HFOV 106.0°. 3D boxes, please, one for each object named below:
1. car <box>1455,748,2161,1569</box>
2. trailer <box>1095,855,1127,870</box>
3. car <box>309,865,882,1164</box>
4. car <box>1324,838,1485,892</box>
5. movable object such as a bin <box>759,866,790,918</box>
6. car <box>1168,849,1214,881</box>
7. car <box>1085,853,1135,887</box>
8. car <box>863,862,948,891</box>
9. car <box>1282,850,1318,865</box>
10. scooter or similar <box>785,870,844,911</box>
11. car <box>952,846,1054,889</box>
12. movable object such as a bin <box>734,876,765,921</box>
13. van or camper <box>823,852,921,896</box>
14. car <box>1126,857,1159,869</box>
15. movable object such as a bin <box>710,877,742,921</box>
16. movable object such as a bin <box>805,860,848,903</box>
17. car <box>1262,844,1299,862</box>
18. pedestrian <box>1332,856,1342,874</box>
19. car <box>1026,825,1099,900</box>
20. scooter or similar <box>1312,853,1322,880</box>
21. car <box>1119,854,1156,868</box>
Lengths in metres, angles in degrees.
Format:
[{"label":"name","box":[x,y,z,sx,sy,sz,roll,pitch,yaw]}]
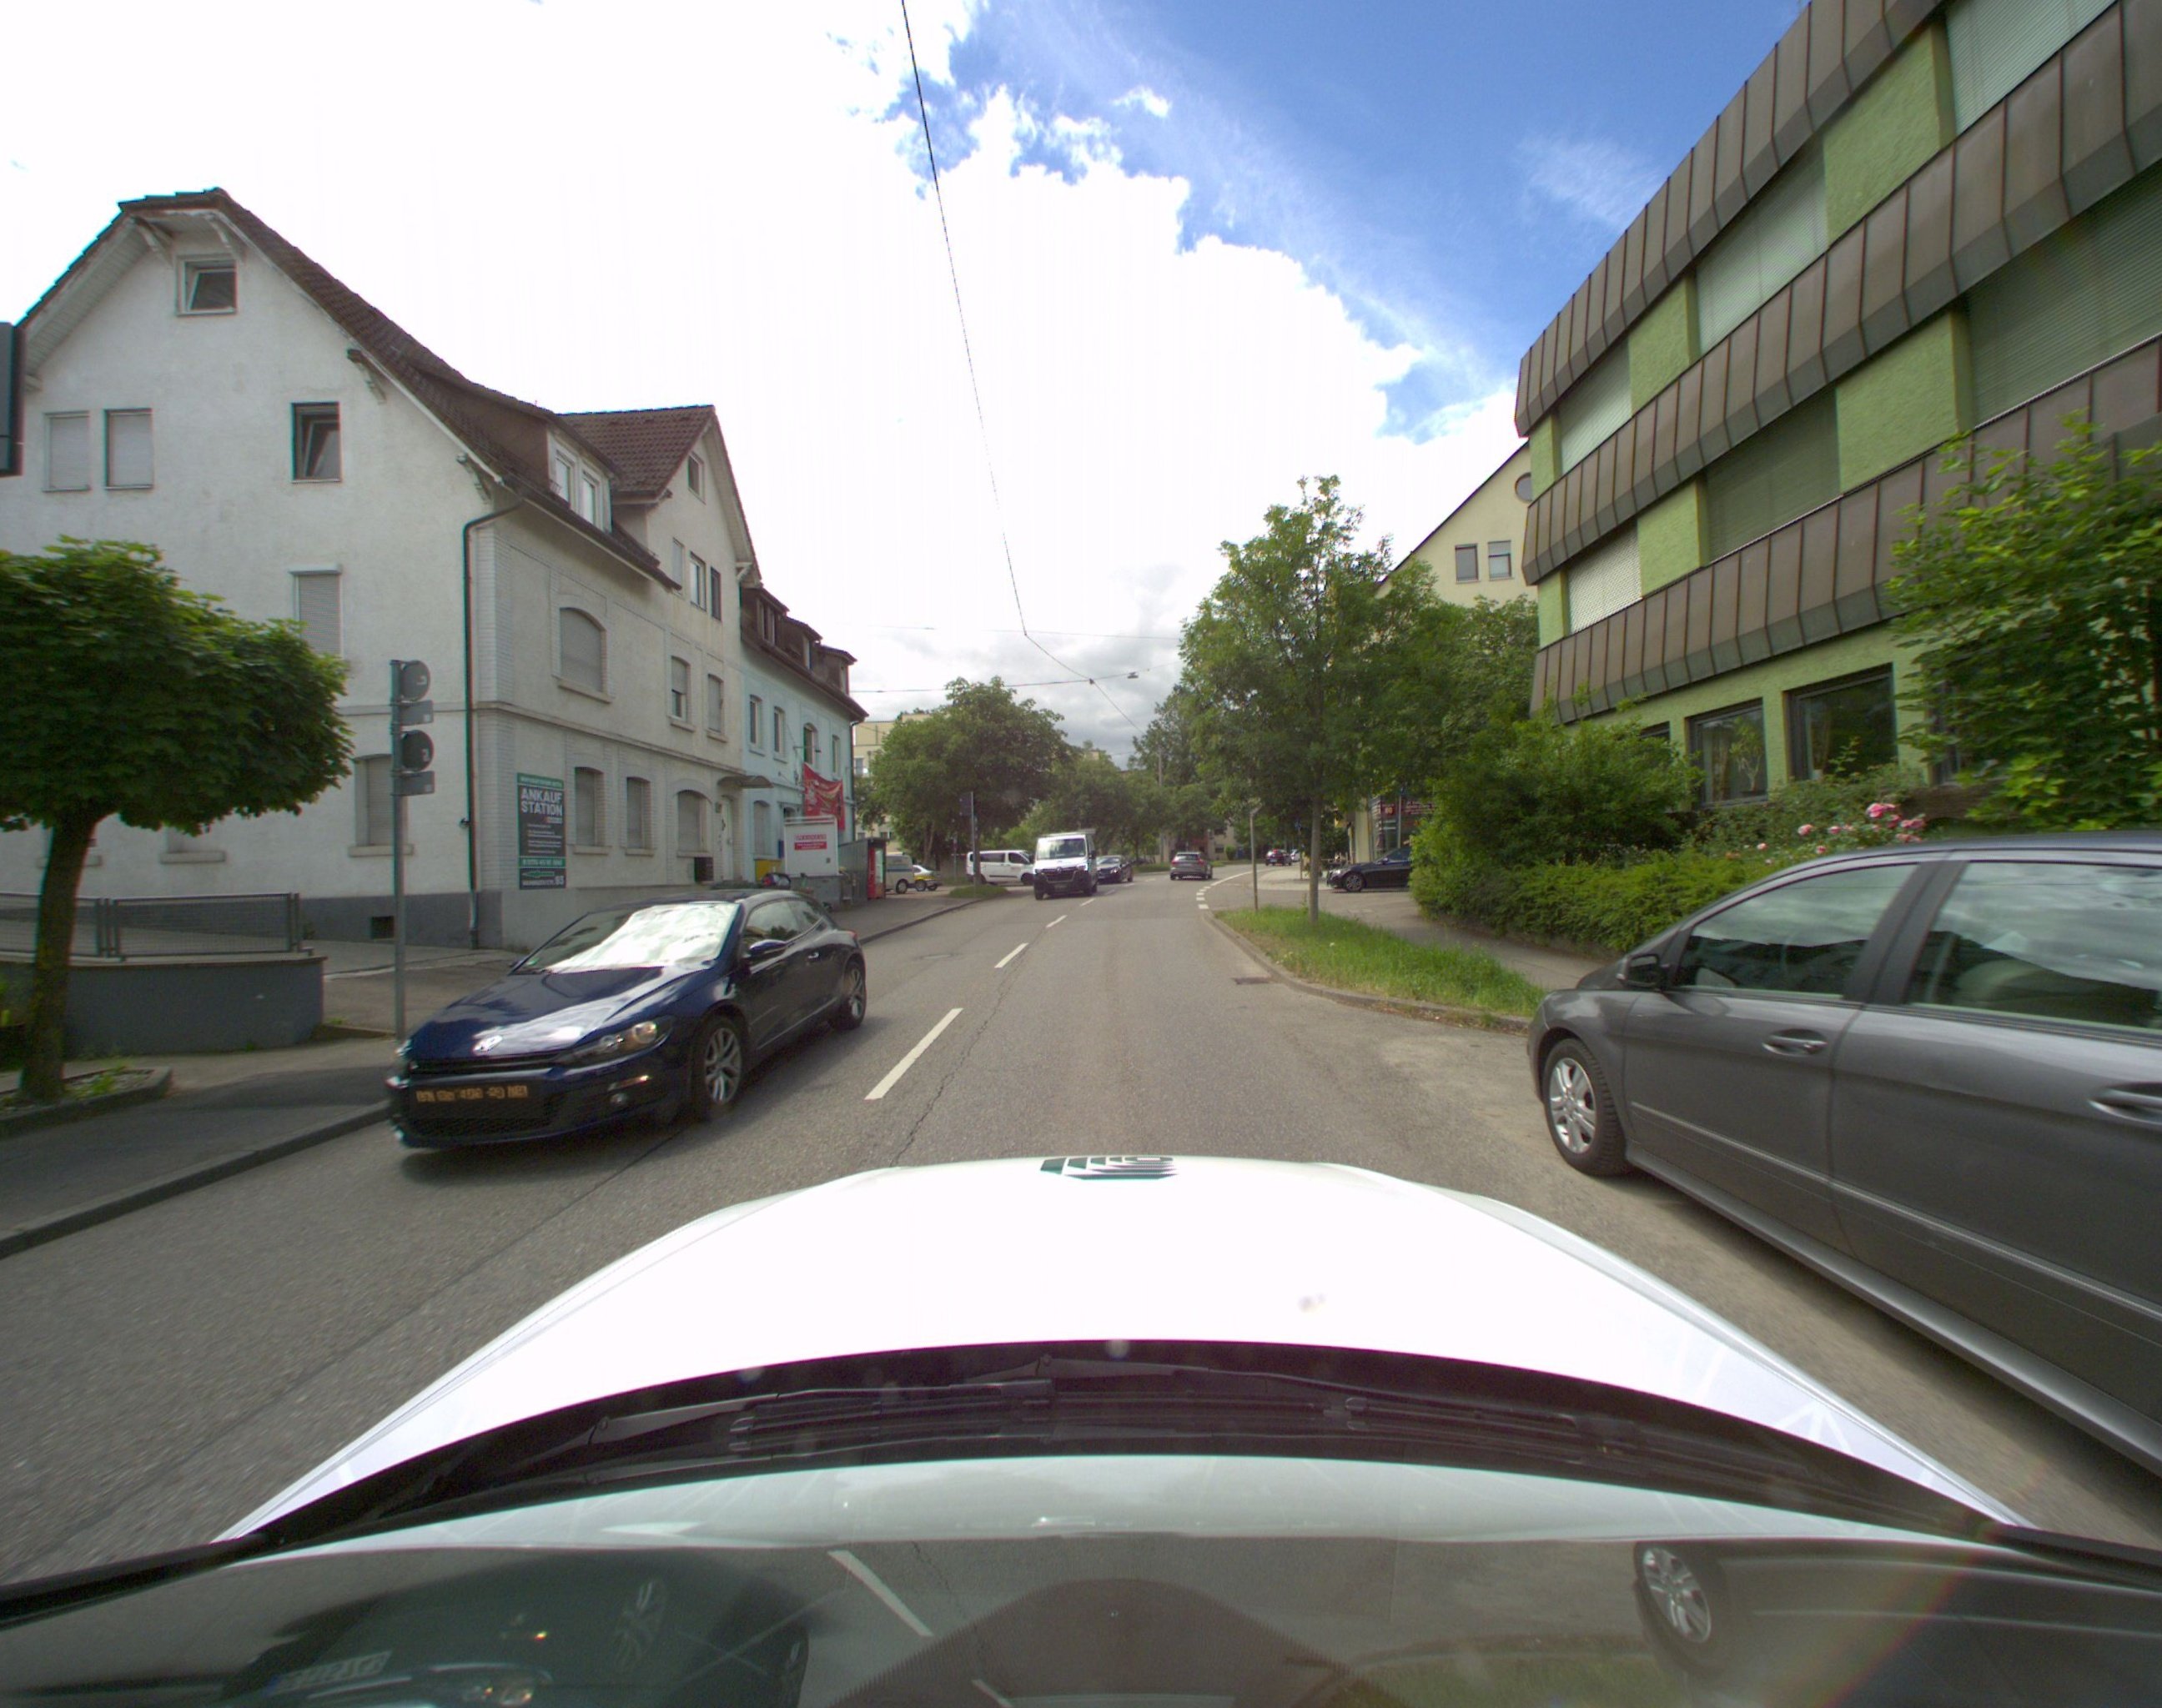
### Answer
[{"label":"car","box":[3.073,0.567,2.811,1.682,1.666,4.466,-3,1,3]},{"label":"trailer","box":[3.896,1.070,106.915,3.877,1.799,1.637,-2,-4,15]},{"label":"car","box":[-3.071,0.874,6.341,1.763,1.425,4.111,-4,-1,2]},{"label":"car","box":[10.458,0.375,26.681,4.639,1.628,1.816,-1,-1,13]},{"label":"movable object such as a bin","box":[-7.730,0.946,20.559,0.563,1.273,0.562,0,-1,-3]},{"label":"car","box":[5.888,0.561,43.311,1.942,1.523,4.345,-1,1,13]},{"label":"car","box":[1.525,0.779,40.956,1.676,1.482,4.240,-6,-1,12]},{"label":"car","box":[-9.380,1.219,43.629,3.988,1.413,1.822,-2,-2,13]},{"label":"car","box":[25.326,0.388,94.100,4.348,1.616,1.790,1,0,-37]},{"label":"scooter or similar","box":[-7.839,1.069,23.978,1.547,1.184,0.546,-1,-1,1]},{"label":"car","box":[-4.395,0.732,45.910,5.168,1.993,2.119,-5,0,20]},{"label":"movable object such as a bin","box":[-8.331,1.119,20.491,0.563,1.101,0.562,-1,-1,-3]},{"label":"van or camper","box":[-10.008,0.929,39.259,1.767,1.994,4.407,-3,-2,37]},{"label":"car","box":[7.973,1.149,105.638,4.045,1.400,1.802,-2,-4,17]},{"label":"movable object such as a bin","box":[-8.917,1.122,20.444,0.563,1.101,0.562,0,-1,-3]},{"label":"movable object such as a bin","box":[-8.443,0.903,27.106,1.016,1.355,1.247,-1,-1,0]},{"label":"car","box":[18.013,-0.119,73.387,1.787,1.523,4.357,1,1,34]},{"label":"pedestrian","box":[17.118,0.721,54.411,0.572,1.204,0.505,-2,-1,18]},{"label":"car","box":[-0.566,0.273,30.324,2.054,2.353,5.188,-5,0,4]},{"label":"scooter or similar","box":[11.768,0.602,40.615,0.378,1.316,1.465,-2,-1,15]},{"label":"car","box":[6.709,0.830,96.704,4.045,1.400,1.802,-2,-4,17]}]
